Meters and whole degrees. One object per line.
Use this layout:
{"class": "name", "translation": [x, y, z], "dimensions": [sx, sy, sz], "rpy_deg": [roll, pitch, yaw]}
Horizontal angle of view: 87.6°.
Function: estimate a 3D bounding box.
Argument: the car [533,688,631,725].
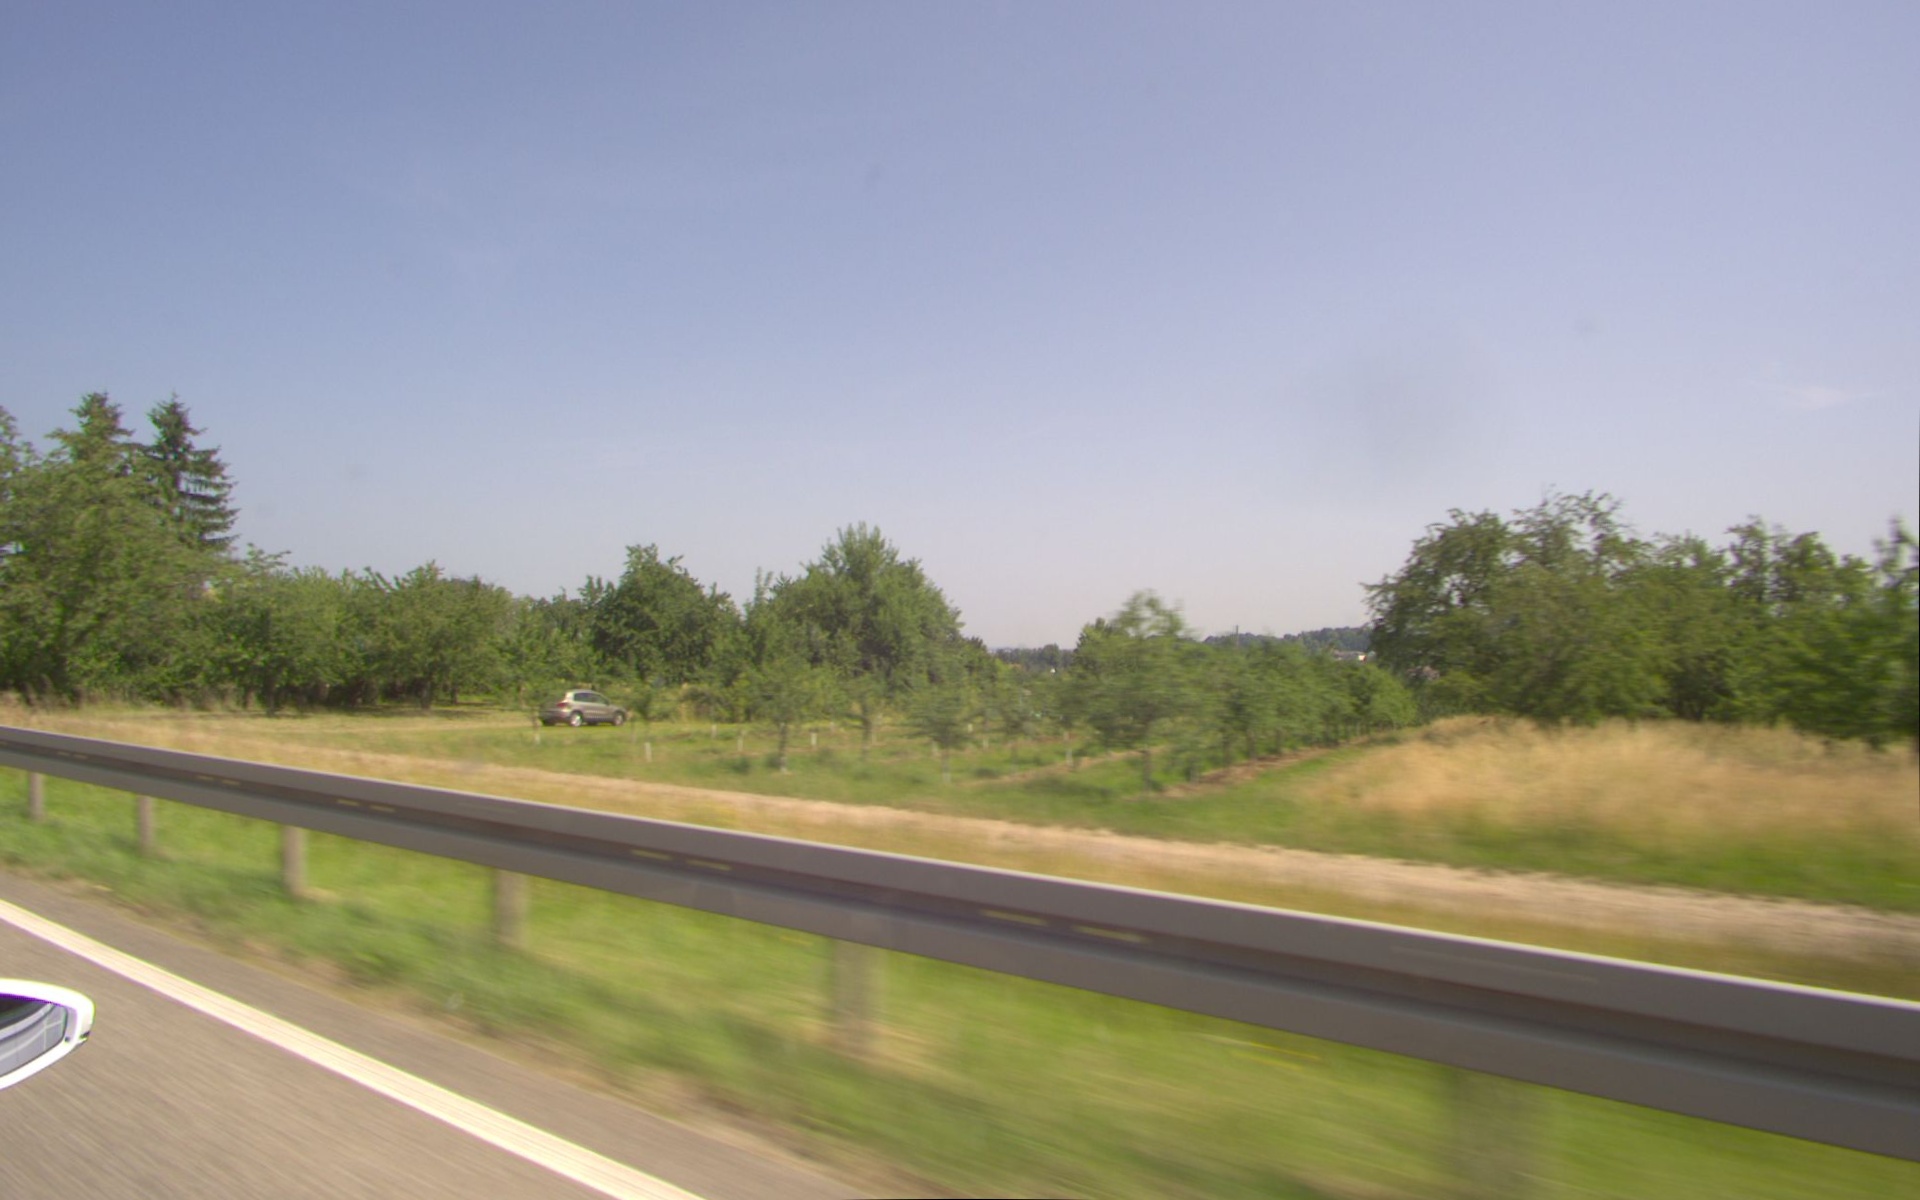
{"class": "car", "translation": [-17.017, 4.794, 45.300], "dimensions": [1.826, 1.552, 4.087], "rpy_deg": [-1, -6, 23]}
